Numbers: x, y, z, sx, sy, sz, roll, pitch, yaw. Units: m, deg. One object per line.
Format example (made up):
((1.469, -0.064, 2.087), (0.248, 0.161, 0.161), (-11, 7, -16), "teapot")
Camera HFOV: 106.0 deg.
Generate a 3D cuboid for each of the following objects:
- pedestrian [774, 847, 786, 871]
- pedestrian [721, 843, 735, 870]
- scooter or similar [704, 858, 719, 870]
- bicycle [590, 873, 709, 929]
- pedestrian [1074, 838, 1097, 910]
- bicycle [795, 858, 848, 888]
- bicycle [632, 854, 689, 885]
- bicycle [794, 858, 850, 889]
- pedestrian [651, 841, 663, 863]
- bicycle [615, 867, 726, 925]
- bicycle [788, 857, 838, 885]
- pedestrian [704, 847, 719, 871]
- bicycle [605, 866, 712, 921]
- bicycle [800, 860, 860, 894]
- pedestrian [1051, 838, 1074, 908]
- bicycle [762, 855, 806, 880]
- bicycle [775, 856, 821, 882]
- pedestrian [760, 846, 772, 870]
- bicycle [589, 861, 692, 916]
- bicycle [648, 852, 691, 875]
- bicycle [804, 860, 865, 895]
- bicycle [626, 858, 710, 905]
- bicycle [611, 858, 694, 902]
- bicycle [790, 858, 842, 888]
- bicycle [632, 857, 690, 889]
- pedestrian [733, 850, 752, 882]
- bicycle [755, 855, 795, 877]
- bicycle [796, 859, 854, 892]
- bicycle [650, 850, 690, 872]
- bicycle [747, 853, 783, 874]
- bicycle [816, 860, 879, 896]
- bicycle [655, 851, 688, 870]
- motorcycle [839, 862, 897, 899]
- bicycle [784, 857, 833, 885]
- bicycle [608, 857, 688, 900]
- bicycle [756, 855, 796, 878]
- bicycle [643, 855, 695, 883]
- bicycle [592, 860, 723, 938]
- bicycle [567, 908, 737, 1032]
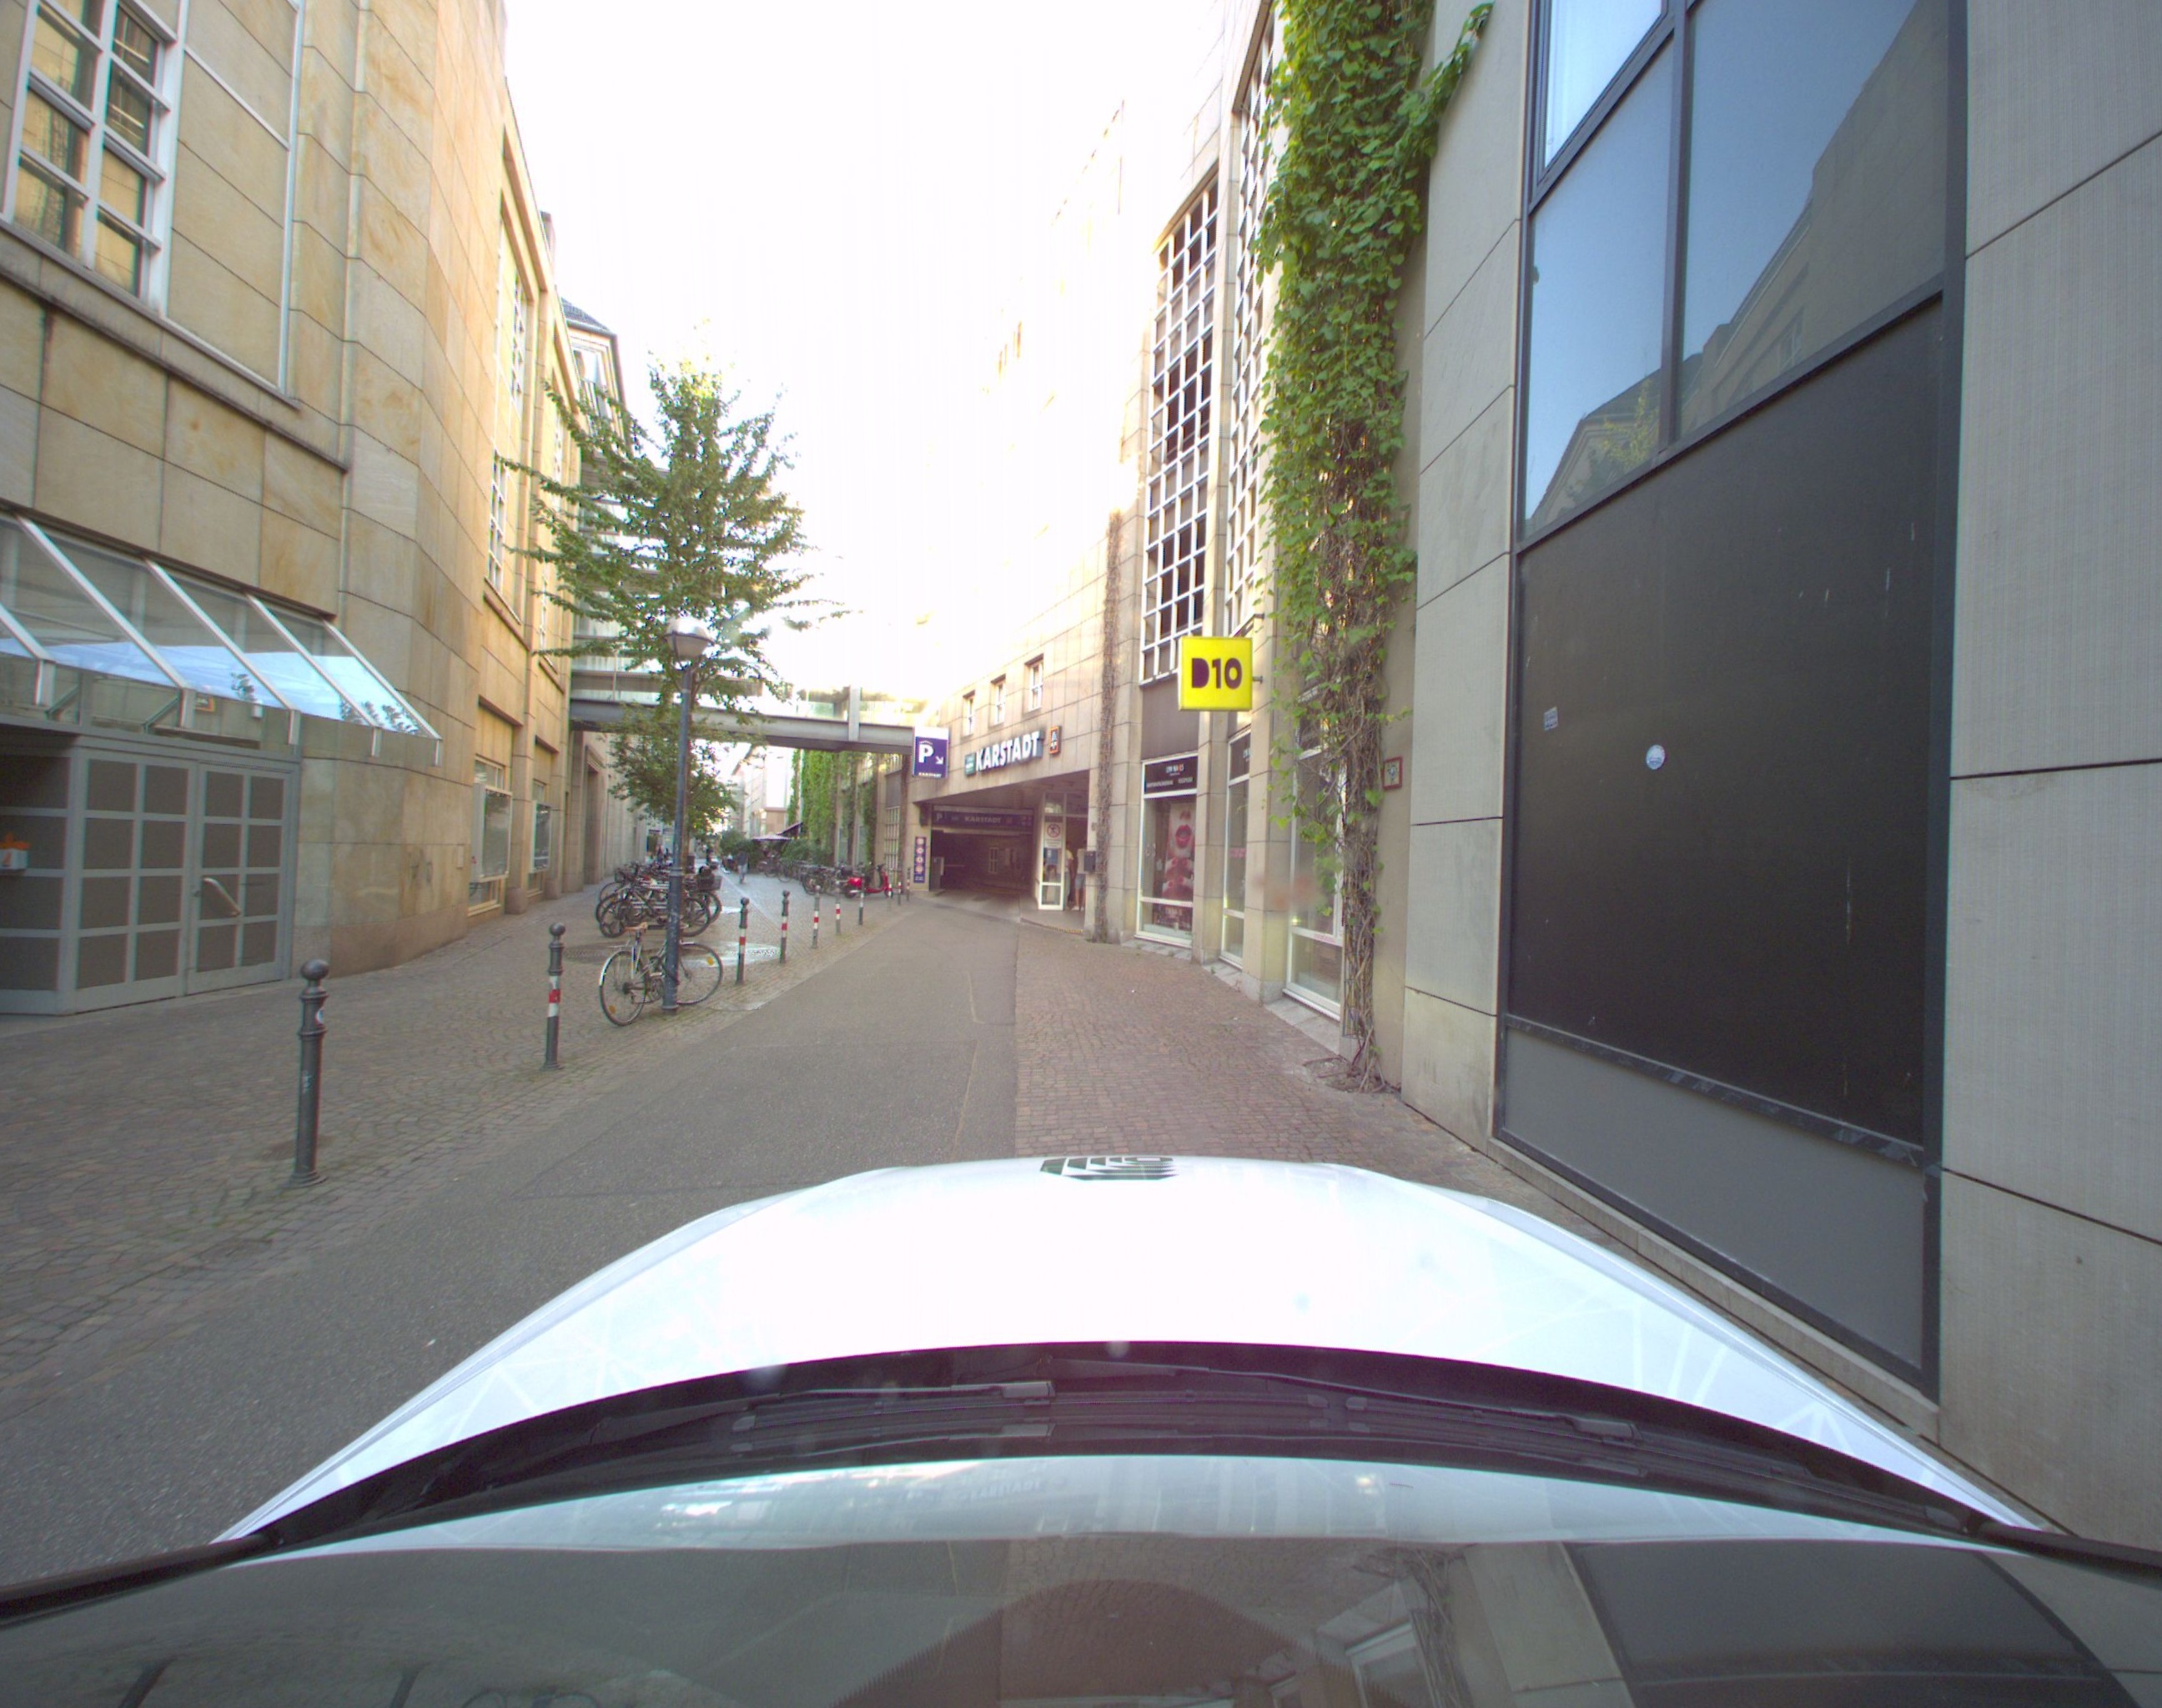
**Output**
((-22.634, 0.347, 61.250), (0.778, 1.804, 0.761), (1, -1, -27), "pedestrian")
((-24.497, 0.181, 56.506), (0.769, 1.804, 0.770), (1, -1, -26), "pedestrian")
((-25.420, 0.696, 56.055), (0.896, 0.843, 0.904), (1, 0, -26), "scooter or similar")
((-8.099, 0.882, 15.385), (1.922, 0.994, 0.690), (2, 0, -25), "bicycle")
((0.114, 0.520, 21.512), (0.540, 1.861, 0.408), (2, 0, 1), "pedestrian")
((-10.515, 0.752, 32.981), (2.003, 1.182, 0.688), (0, 0, -24), "bicycle")
((-16.663, 0.632, 32.314), (1.920, 1.182, 0.691), (2, -1, -22), "bicycle")
((-10.180, 0.764, 32.022), (2.003, 1.182, 0.796), (0, 0, -24), "bicycle")
((-34.630, -0.182, 66.535), (0.778, 1.804, 0.628), (1, -1, -27), "pedestrian")
((-8.167, 0.837, 16.301), (1.922, 1.101, 0.690), (2, 0, -25), "bicycle")
((-11.524, 0.729, 35.012), (2.003, 1.182, 0.688), (0, 0, -24), "bicycle")
((-25.793, 0.344, 56.884), (0.896, 1.639, 0.904), (1, -1, -26), "pedestrian")
((-8.990, 0.845, 17.413), (1.920, 1.101, 0.691), (2, 0, -22), "bicycle")
((-9.092, 0.814, 29.529), (2.003, 1.182, 0.796), (0, 0, -24), "bicycle")
((-0.489, 0.499, 21.693), (0.540, 1.846, 0.408), (2, 0, 1), "pedestrian")
((-14.598, 0.666, 39.989), (2.003, 1.182, 0.688), (0, 0, -24), "bicycle")
((-13.285, 0.678, 38.290), (2.003, 1.182, 0.688), (0, 0, -24), "bicycle")
((-23.640, 0.317, 61.117), (0.778, 1.804, 0.761), (1, -1, -27), "pedestrian")
((-9.823, 0.769, 18.239), (1.920, 1.182, 0.691), (2, -1, -22), "bicycle")
((-21.493, 0.504, 42.595), (1.920, 1.182, 0.691), (2, -1, -22), "bicycle")
((-8.686, 0.804, 28.683), (2.003, 1.182, 0.690), (0, 0, -24), "bicycle")
((-11.038, 0.738, 21.829), (1.920, 1.182, 0.691), (2, -1, -22), "bicycle")
((-11.805, 0.717, 22.498), (1.920, 1.182, 0.691), (2, -1, -22), "bicycle")
((-11.008, 0.774, 33.820), (2.003, 1.182, 0.688), (0, 0, -24), "bicycle")
((-16.242, 0.739, 31.543), (1.920, 1.182, 0.691), (2, -1, -22), "bicycle")
((-15.973, 0.556, 38.403), (0.752, 1.509, 0.632), (1, -1, -27), "pedestrian")
((-16.698, 0.647, 44.463), (2.003, 1.182, 0.688), (0, 0, -24), "bicycle")
((-9.631, 0.797, 30.615), (2.003, 1.182, 0.796), (0, 0, -24), "bicycle")
((-23.419, 0.400, 46.461), (1.920, 1.182, 0.691), (2, -1, -22), "bicycle")
((-18.926, 0.553, 48.756), (2.003, 1.182, 0.688), (0, 0, -24), "bicycle")
((-7.980, 0.818, 27.888), (2.003, 1.182, 0.690), (0, 0, -24), "bicycle")
((-28.003, 0.446, 55.656), (1.920, 1.182, 0.691), (2, -1, -22), "bicycle")
((-6.887, 0.851, 26.310), (1.753, 1.155, 0.590), (0, 0, -22), "motorcycle")
((-12.051, 0.742, 36.040), (2.003, 1.182, 0.688), (0, 0, -24), "bicycle")
((-12.450, 0.698, 23.483), (1.920, 1.182, 0.691), (2, -1, -22), "bicycle")
((-16.362, 0.667, 43.682), (2.003, 1.182, 0.688), (0, 0, -24), "bicycle")
((-17.720, 0.641, 35.061), (1.920, 1.182, 0.691), (2, -1, -22), "bicycle")
((-7.249, 0.764, 14.048), (1.922, 1.261, 0.802), (2, 0, -25), "bicycle")
((-4.119, 1.069, 7.975), (0.502, 0.966, 1.699), (1, 0, 10), "bicycle")
